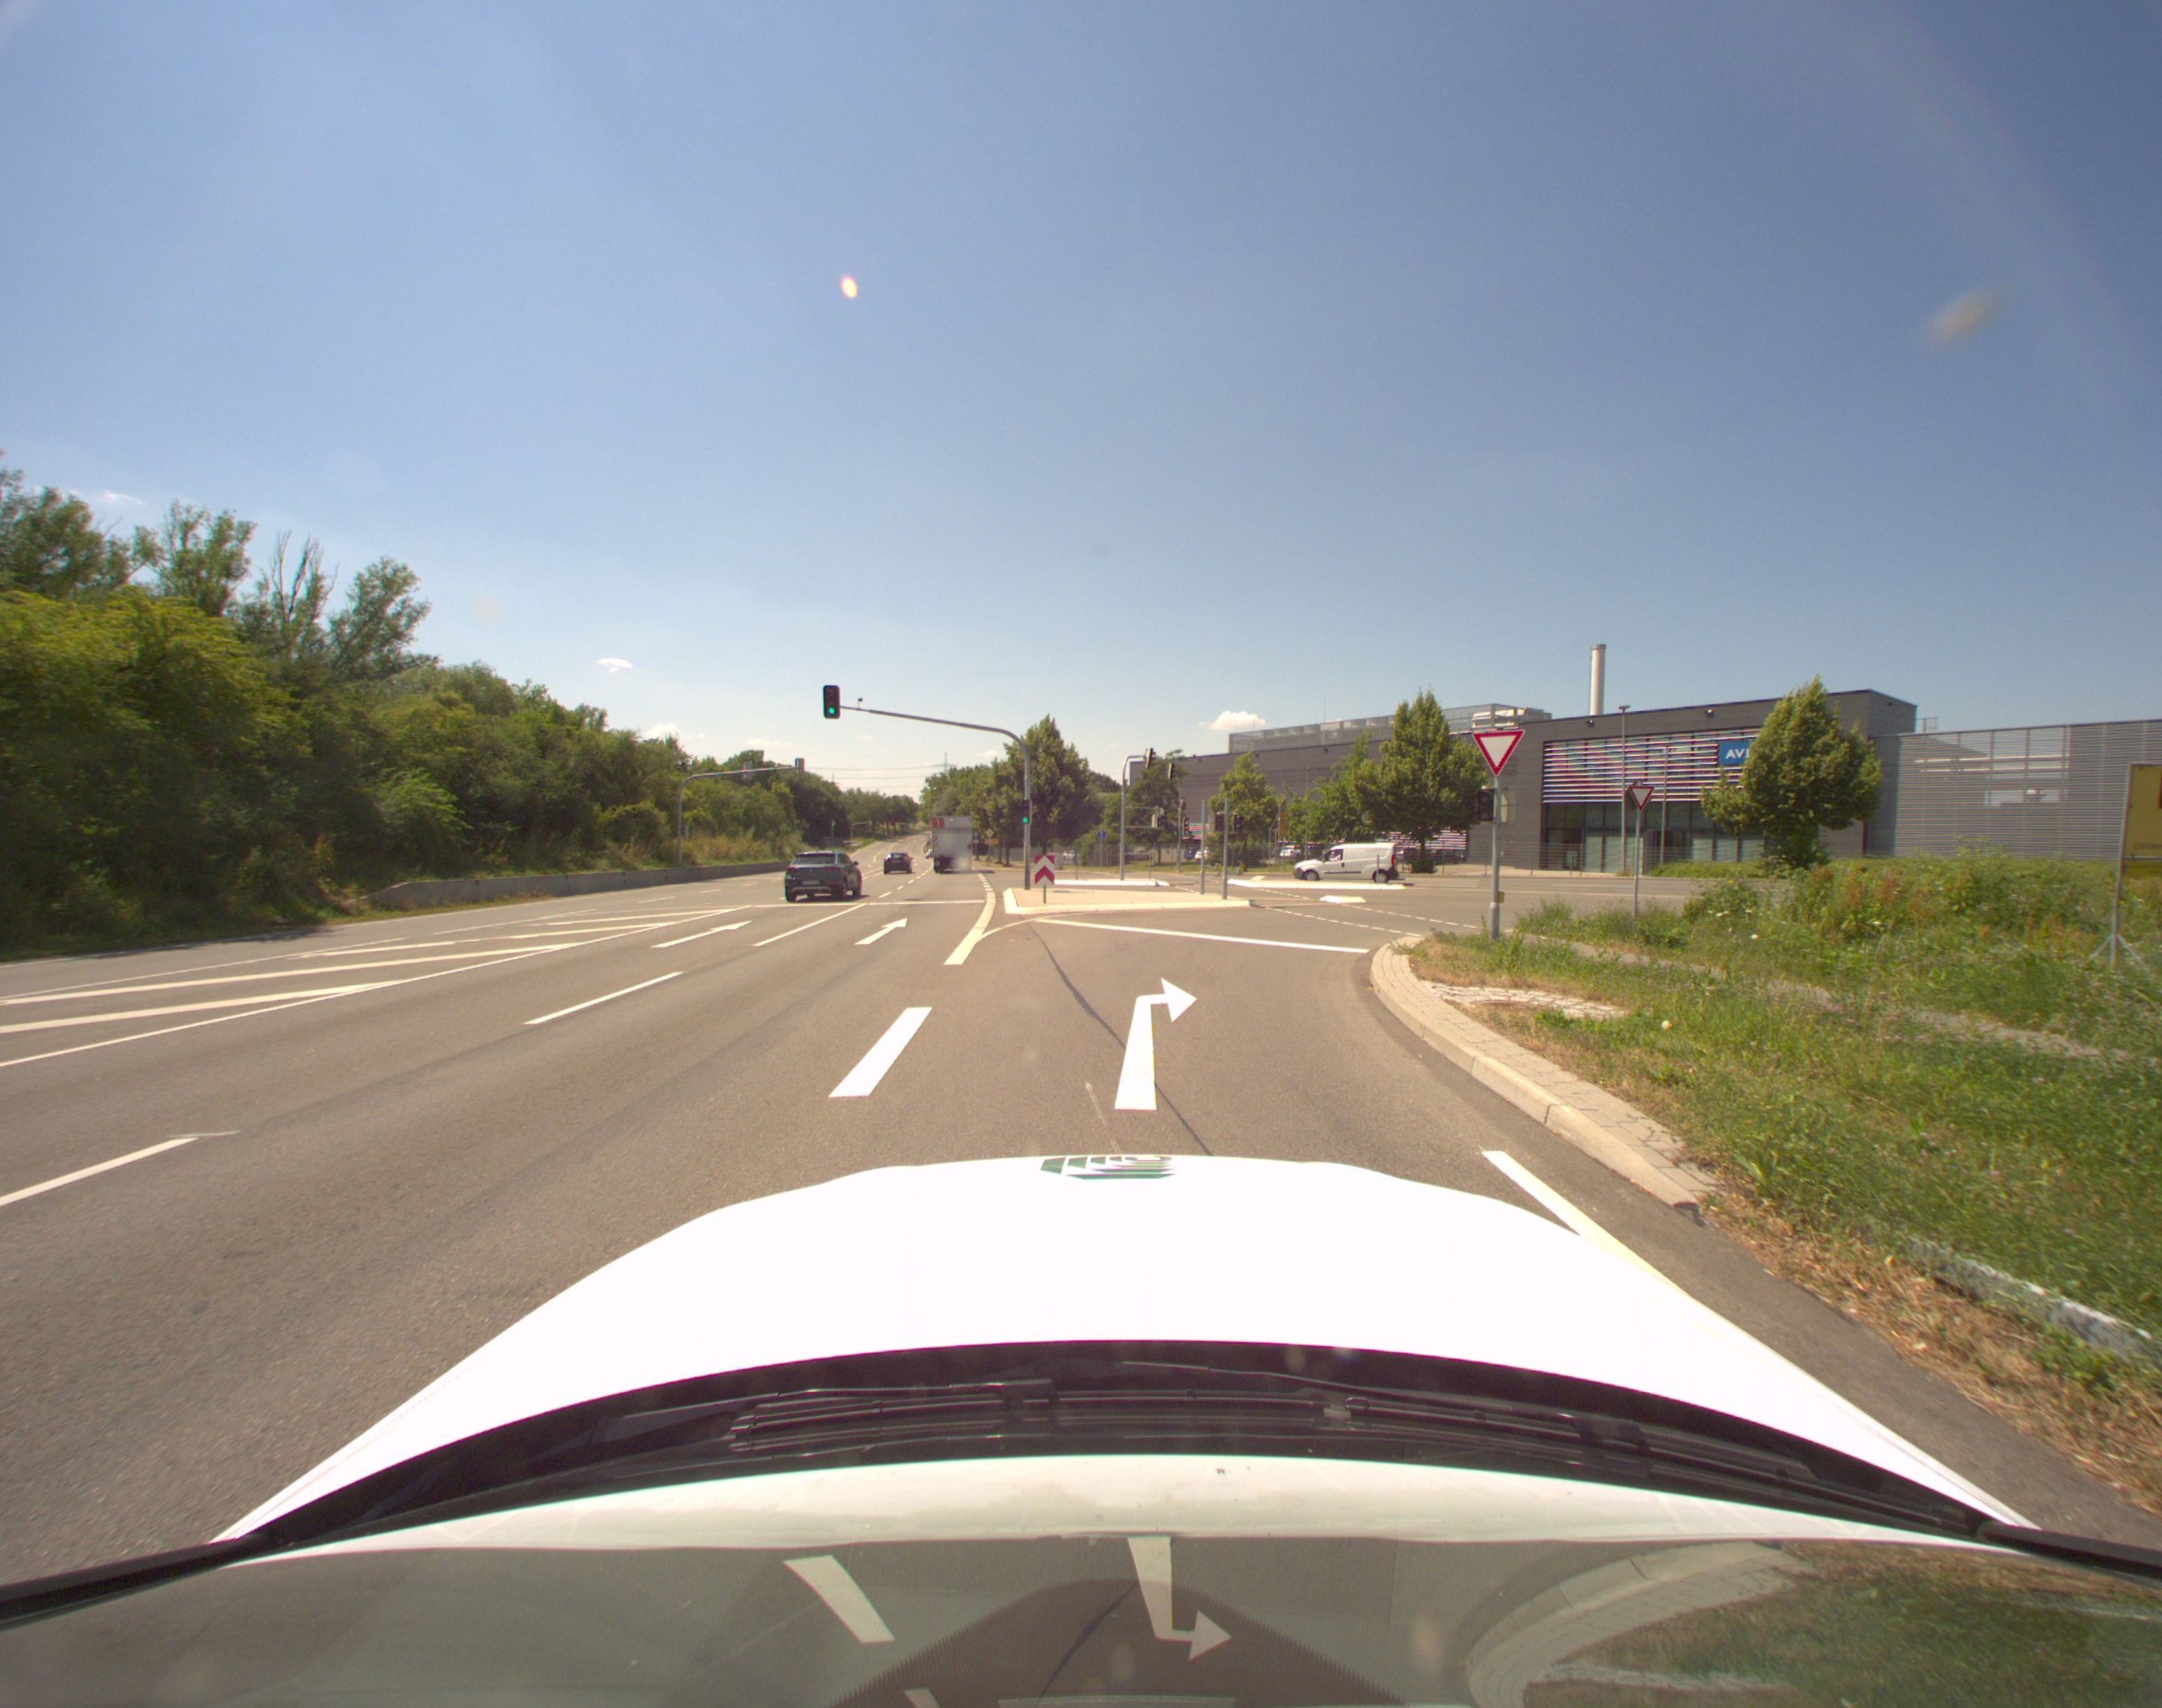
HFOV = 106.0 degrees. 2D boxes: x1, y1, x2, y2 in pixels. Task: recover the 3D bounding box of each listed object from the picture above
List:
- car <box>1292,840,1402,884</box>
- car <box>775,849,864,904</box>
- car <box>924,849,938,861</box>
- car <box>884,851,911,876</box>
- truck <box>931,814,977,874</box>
[{"bbox_3d":[12.403,0.360,37.911,4.703,1.932,2.165,0,0,22],"label":"car"},{"bbox_3d":[-8.282,0.654,26.151,1.832,1.586,4.382,-1,0,-6],"label":"car"},{"bbox_3d":[-24.151,0.120,130.814,1.947,1.664,3.981,2,1,-15],"label":"car"},{"bbox_3d":[-12.215,0.577,54.335,1.654,1.493,4.192,0,2,-11],"label":"car"},{"bbox_3d":[-8.584,-0.728,55.053,2.803,3.710,9.079,0,1,-9],"label":"truck"}]
